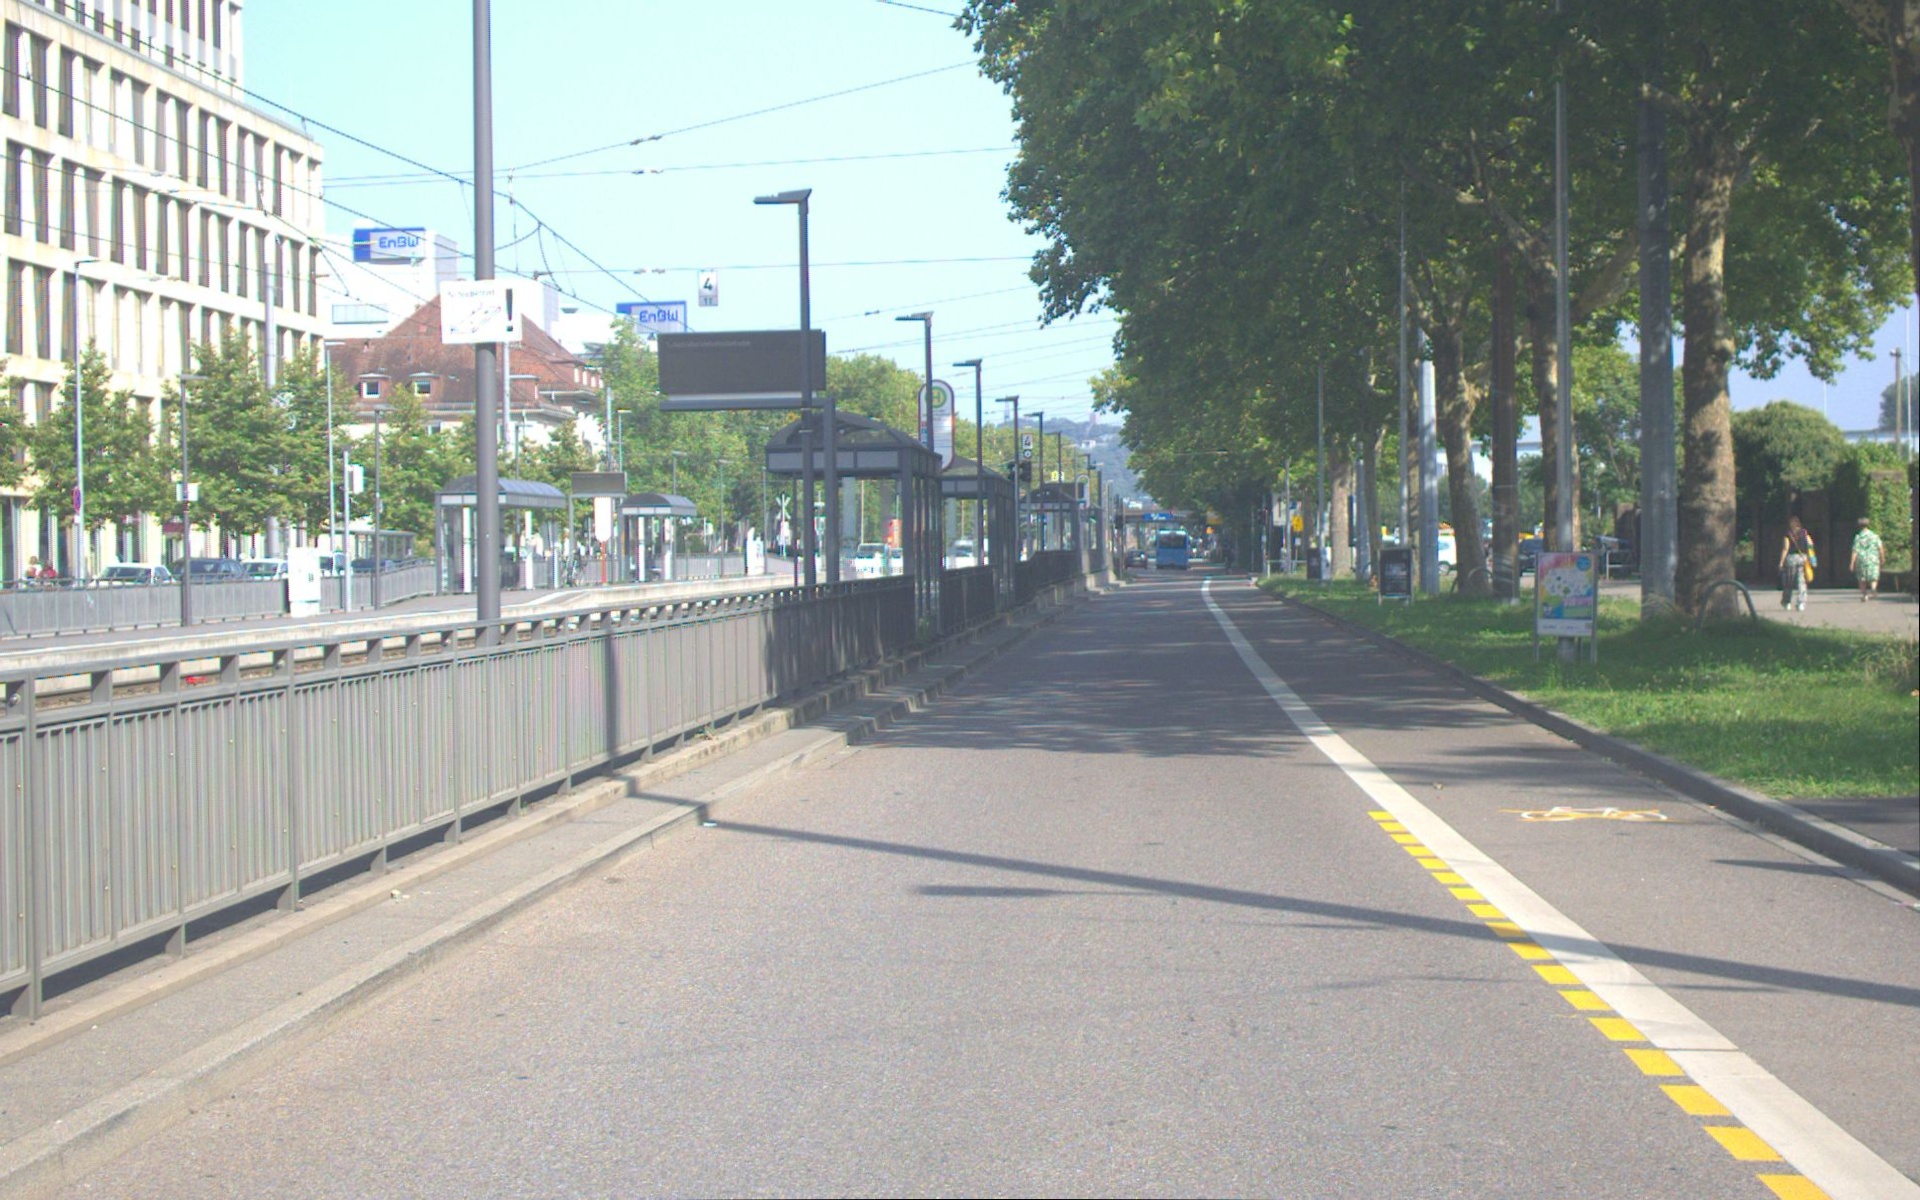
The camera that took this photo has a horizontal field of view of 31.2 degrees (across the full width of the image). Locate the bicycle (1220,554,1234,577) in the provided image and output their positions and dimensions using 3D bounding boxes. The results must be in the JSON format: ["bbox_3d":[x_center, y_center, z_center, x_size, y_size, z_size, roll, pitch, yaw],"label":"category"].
[{"bbox_3d":[13.454,-1.733,173.190,0.715,1.104,2.508,0,0,4],"label":"bicycle"}]

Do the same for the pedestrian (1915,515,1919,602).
[{"bbox_3d":[17.968,-0.780,62.766,0.806,1.598,0.947,-2,0,4],"label":"pedestrian"}]

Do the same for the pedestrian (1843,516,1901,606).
[{"bbox_3d":[16.784,-0.720,63.300,0.806,1.598,0.947,-2,0,4],"label":"pedestrian"}]

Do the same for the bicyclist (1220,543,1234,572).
[{"bbox_3d":[13.448,-2.120,173.173,0.706,1.456,1.009,0,0,4],"label":"bicyclist"}]

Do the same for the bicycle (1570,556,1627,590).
[{"bbox_3d":[19.703,-0.827,106.119,1.657,0.966,0.506,-3,0,10],"label":"bicycle"}]

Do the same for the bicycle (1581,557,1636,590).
[{"bbox_3d":[20.850,-0.855,110.510,1.656,0.966,0.506,-3,0,7],"label":"bicycle"}]

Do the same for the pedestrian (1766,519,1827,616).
[{"bbox_3d":[14.437,-0.562,59.338,0.806,1.630,0.947,-2,0,4],"label":"pedestrian"}]
